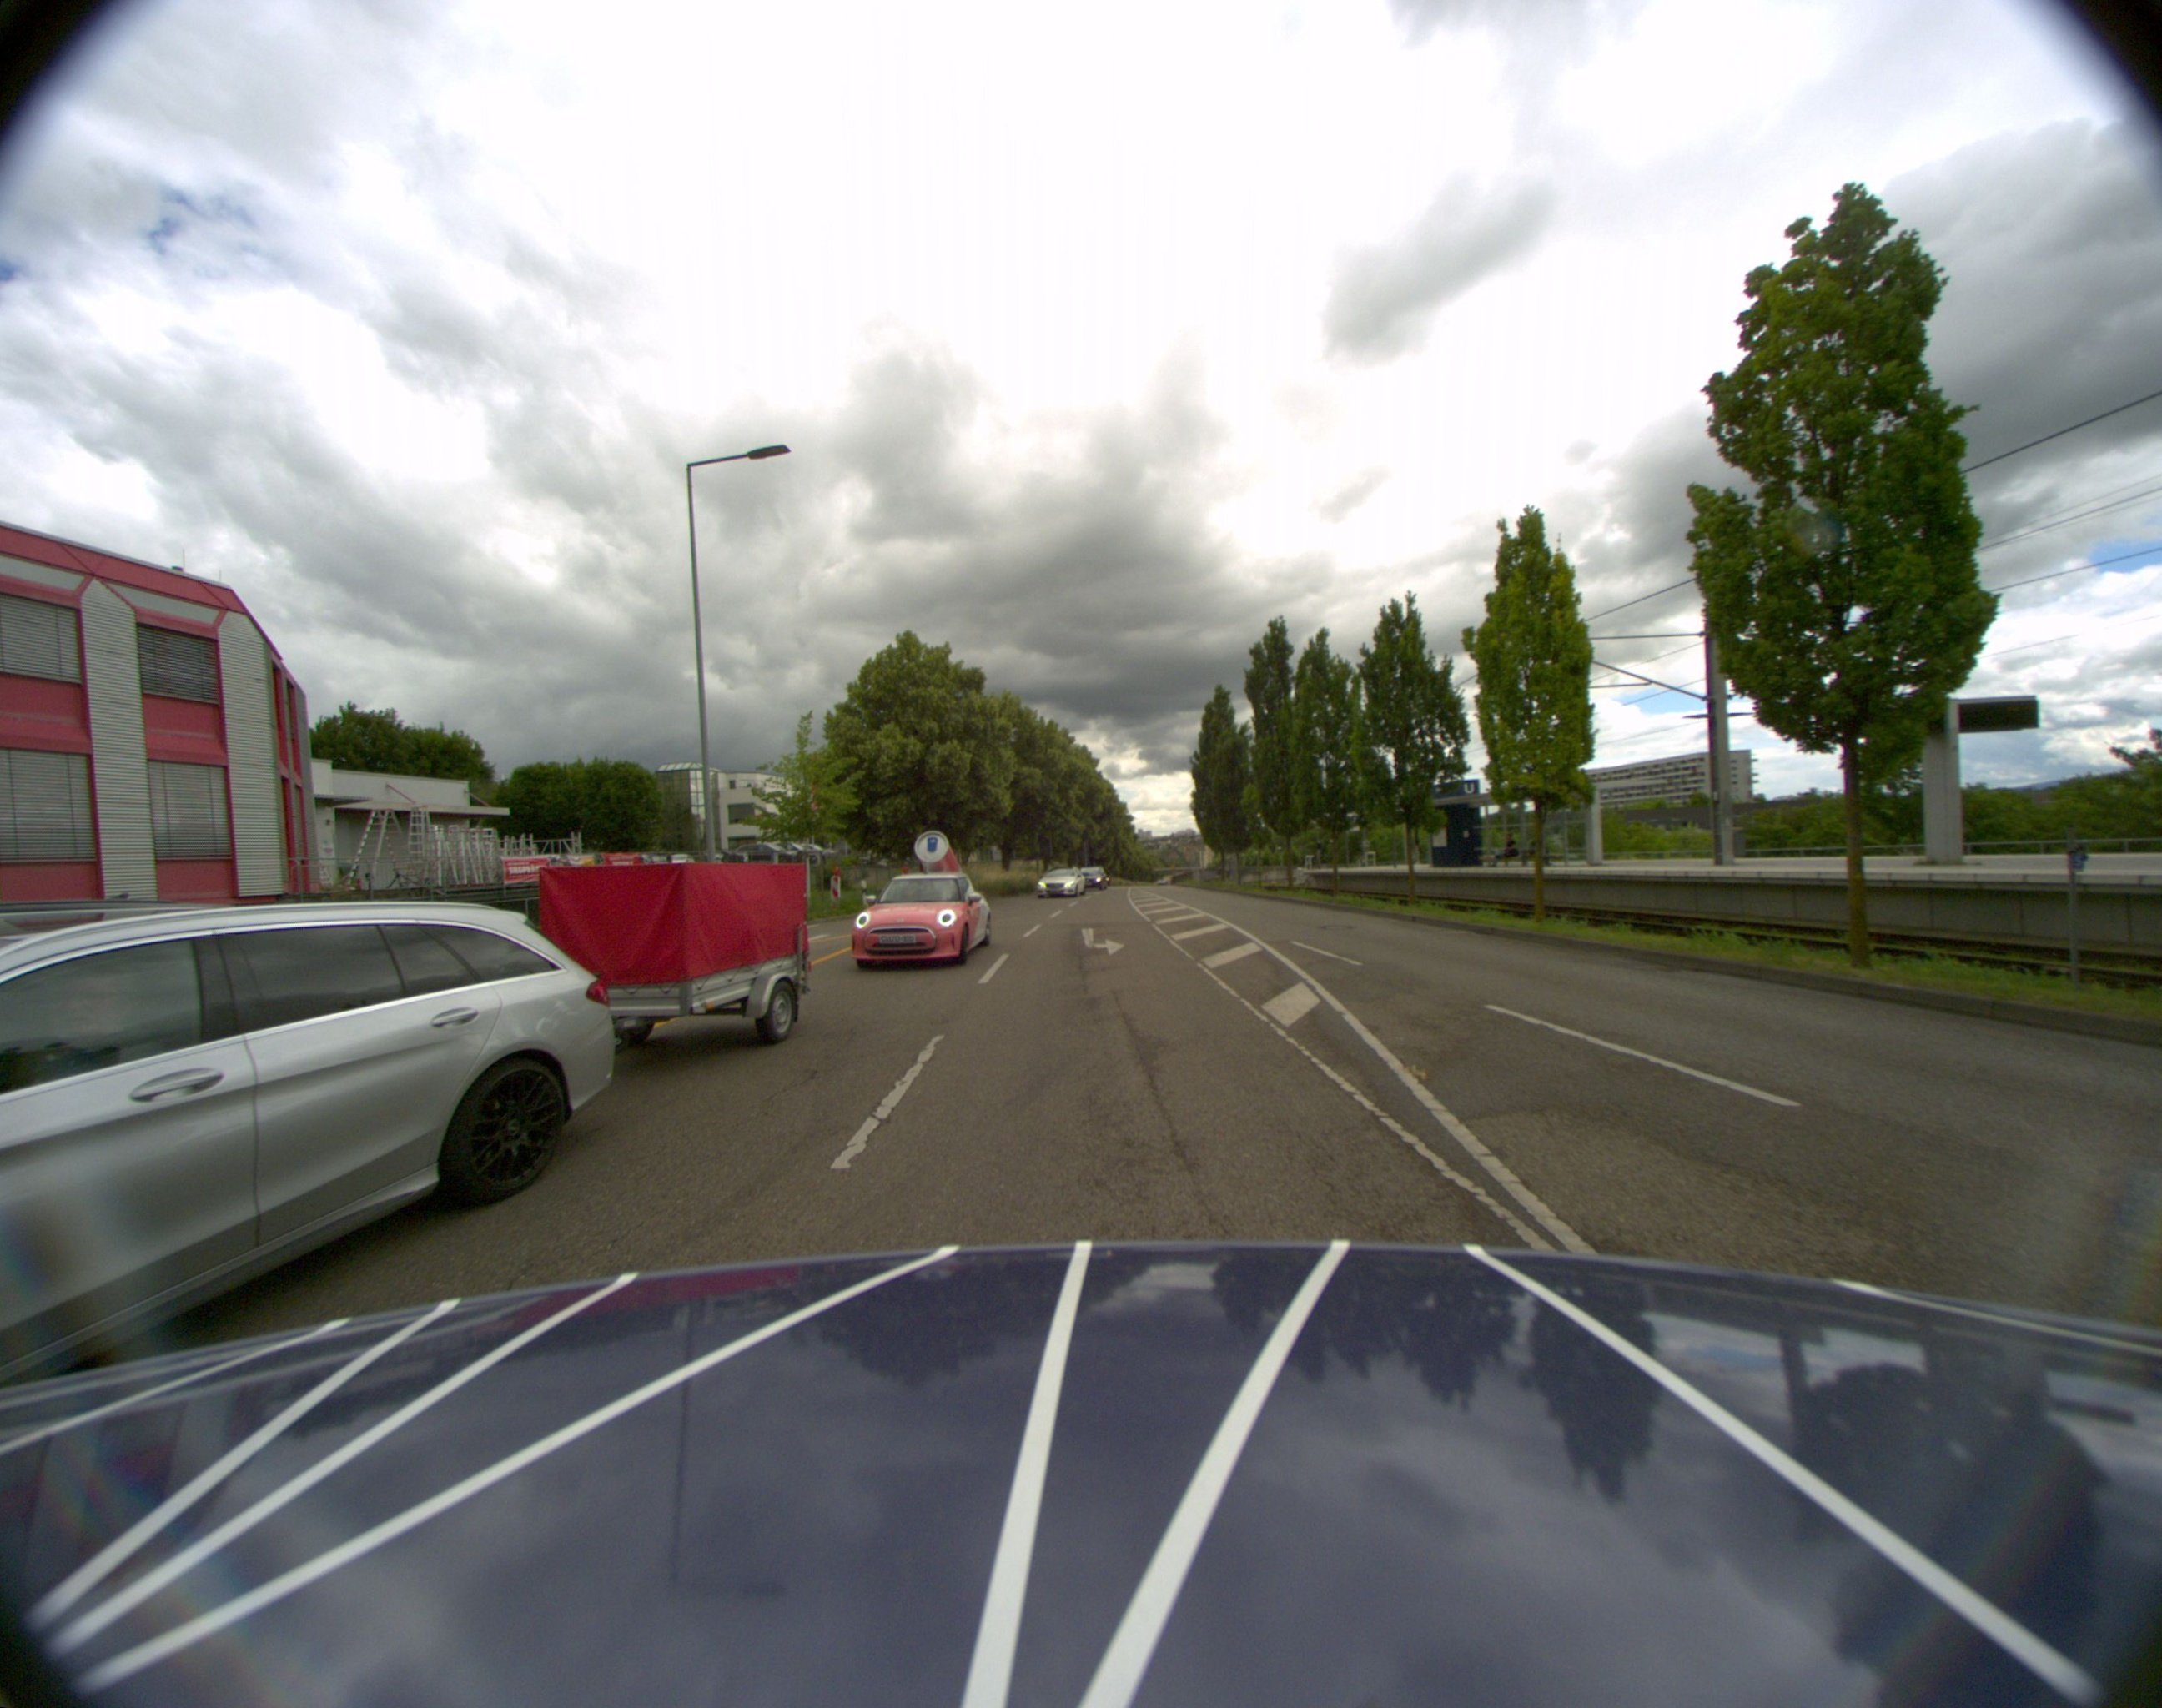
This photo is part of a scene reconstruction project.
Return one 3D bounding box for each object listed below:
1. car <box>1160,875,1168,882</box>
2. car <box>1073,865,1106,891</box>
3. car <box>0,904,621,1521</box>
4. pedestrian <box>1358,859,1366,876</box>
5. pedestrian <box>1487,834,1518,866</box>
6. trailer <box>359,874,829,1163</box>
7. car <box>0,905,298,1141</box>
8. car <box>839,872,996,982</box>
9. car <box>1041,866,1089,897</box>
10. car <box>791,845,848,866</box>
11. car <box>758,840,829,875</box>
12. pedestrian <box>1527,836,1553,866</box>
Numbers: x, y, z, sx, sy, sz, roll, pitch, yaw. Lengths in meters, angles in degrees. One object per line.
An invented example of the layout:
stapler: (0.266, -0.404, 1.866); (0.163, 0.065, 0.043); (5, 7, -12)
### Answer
car: (17.871, 5.250, 163.255); (1.719, 1.512, 3.747); (-1, -2, 6)
car: (0.572, 1.475, 47.796); (1.805, 1.439, 4.001); (-2, 0, 4)
car: (-3.661, 1.043, 2.171); (1.675, 1.439, 4.490); (-2, 0, 4)
pedestrian: (26.332, 1.278, 71.163); (0.508, 1.615, 0.646); (-2, -1, 5)
pedestrian: (15.922, -0.147, 28.734); (0.763, 1.192, 0.665); (-2, 0, 0)
trailer: (-3.393, 1.009, 6.066); (1.412, 1.584, 3.304); (-2, 0, 4)
car: (-8.038, 1.190, 4.600); (1.839, 1.424, 4.281); (-2, 0, 8)
car: (-2.565, 1.096, 12.783); (1.723, 1.449, 3.697); (-2, 0, 1)
car: (-0.744, 1.333, 37.248); (1.738, 1.365, 4.003); (-2, -2, 7)
car: (-21.230, 0.146, 61.693); (3.933, 1.473, 1.757); (-3, -2, 9)
car: (-17.964, 0.215, 47.546); (3.762, 1.947, 1.644); (-3, -2, 9)
pedestrian: (16.767, -0.117, 27.748); (0.608, 1.072, 0.470); (-2, -1, 0)
